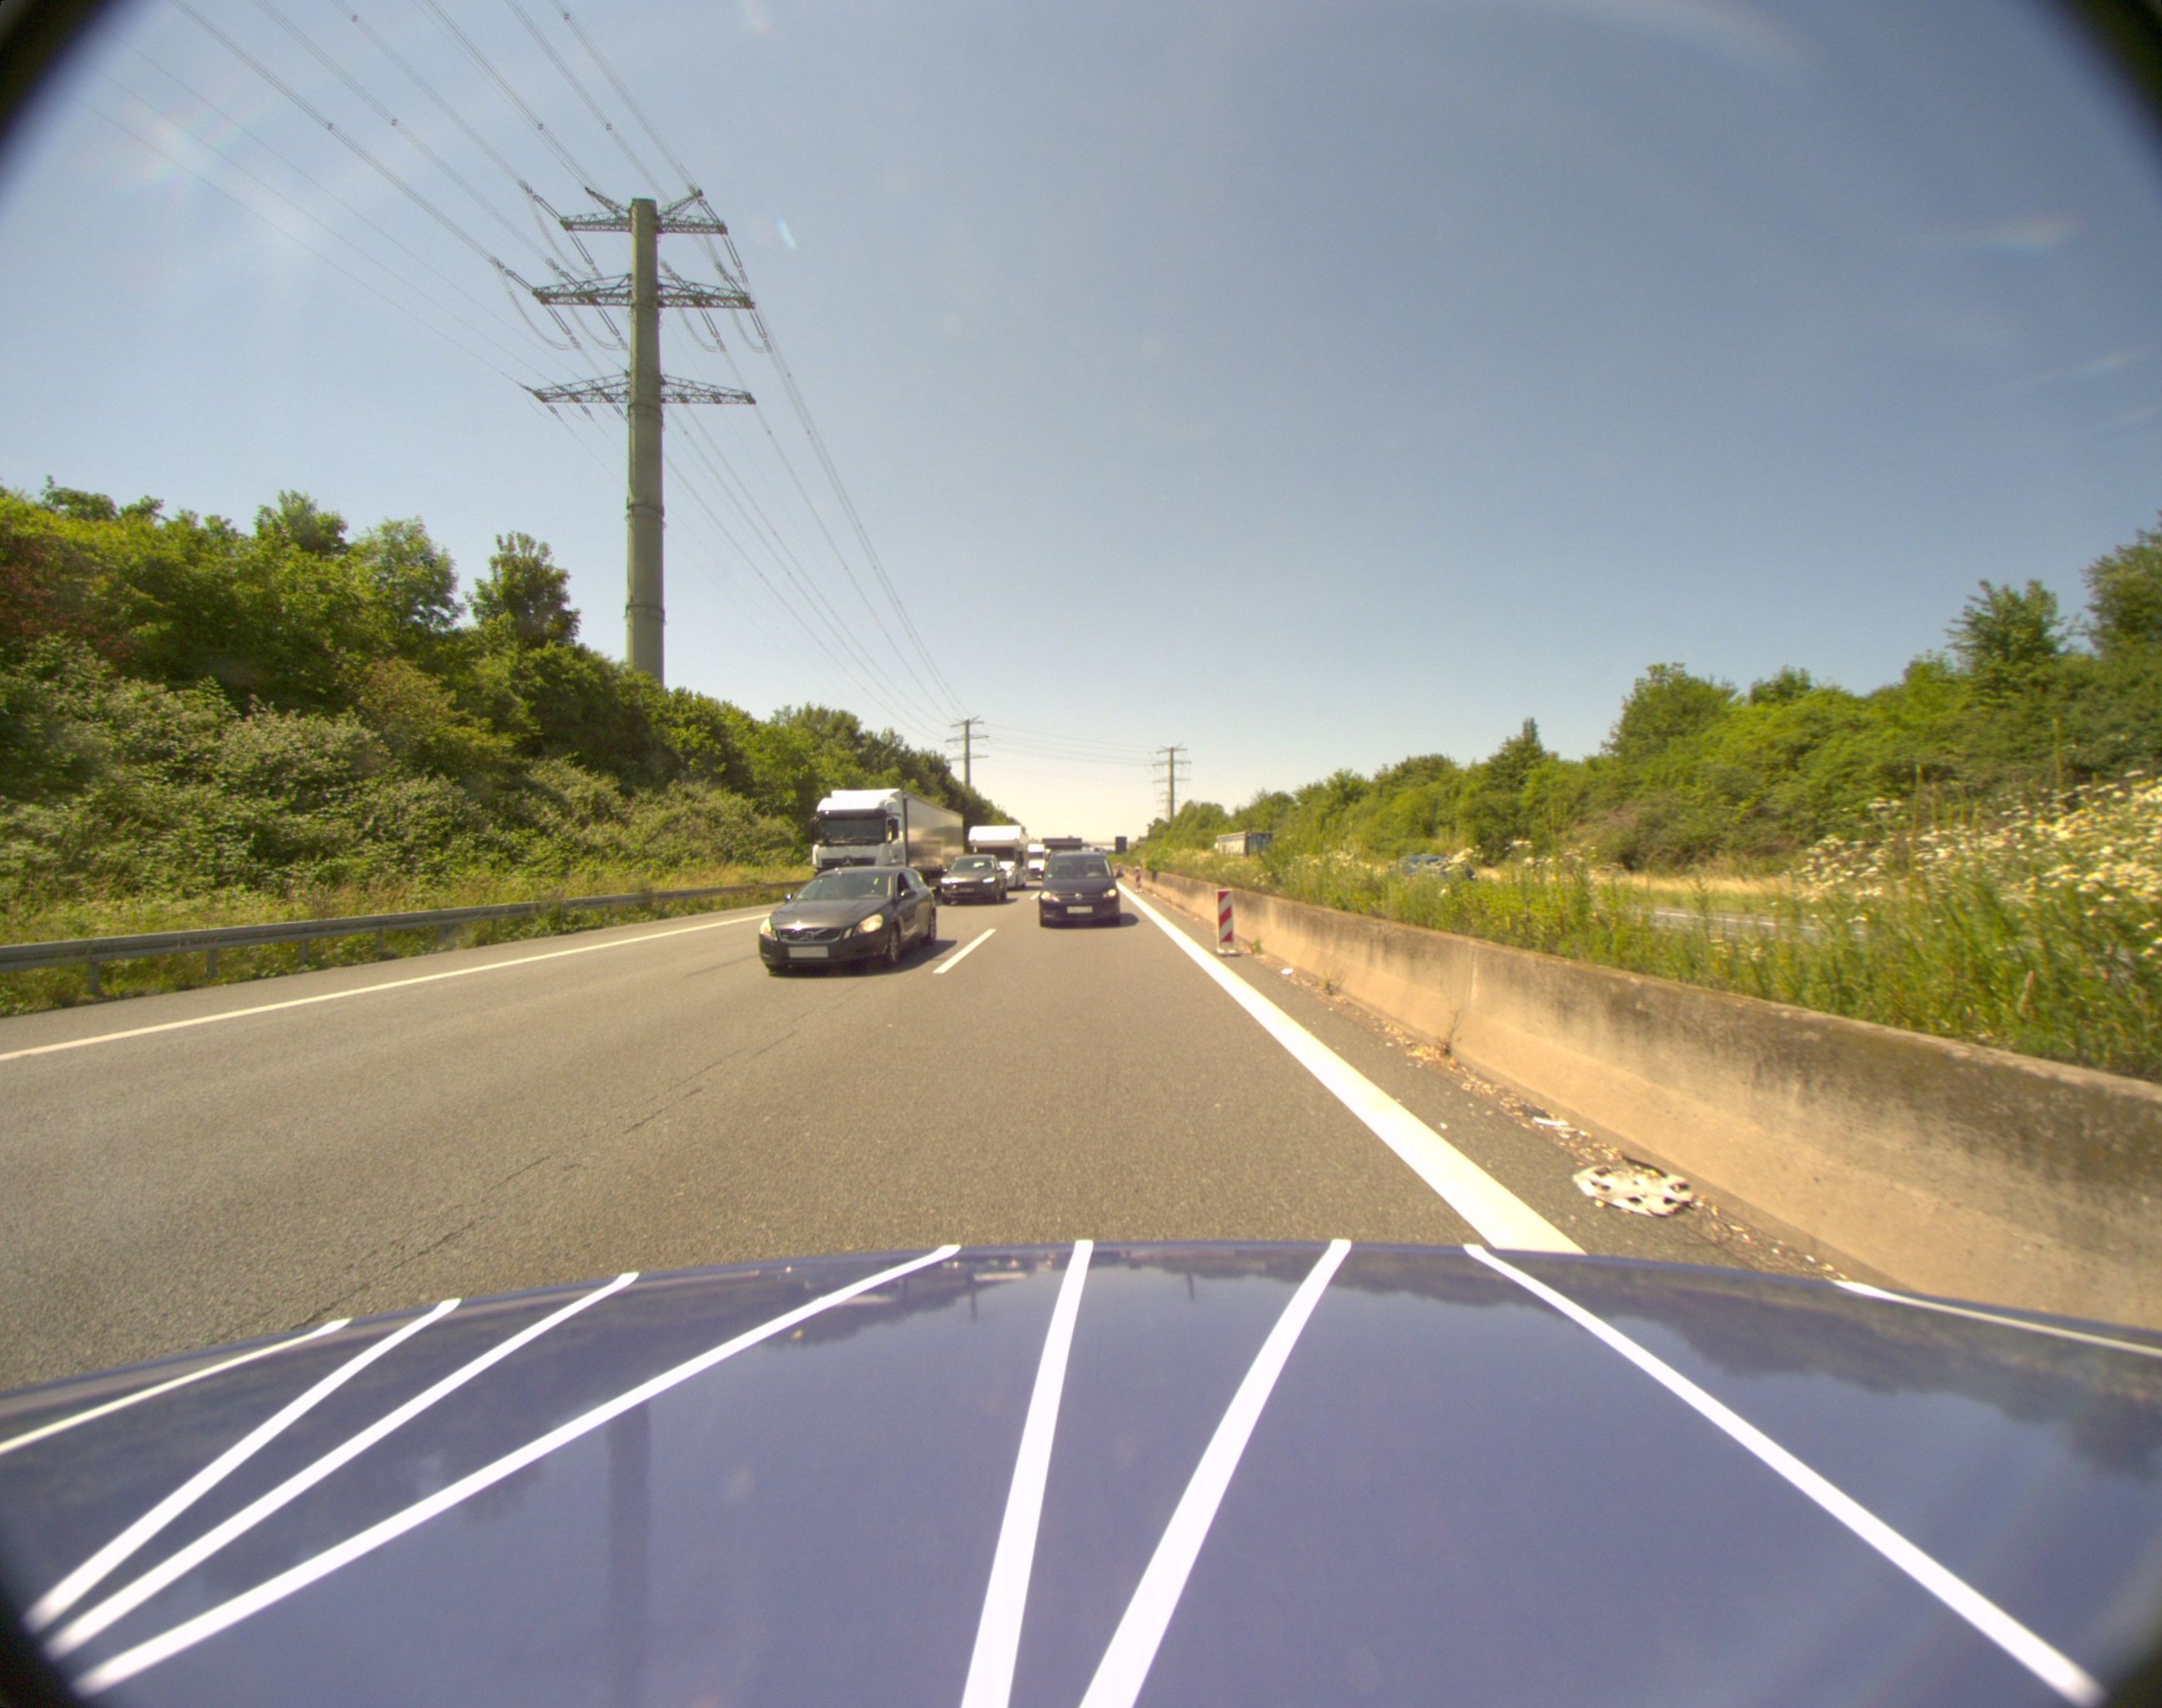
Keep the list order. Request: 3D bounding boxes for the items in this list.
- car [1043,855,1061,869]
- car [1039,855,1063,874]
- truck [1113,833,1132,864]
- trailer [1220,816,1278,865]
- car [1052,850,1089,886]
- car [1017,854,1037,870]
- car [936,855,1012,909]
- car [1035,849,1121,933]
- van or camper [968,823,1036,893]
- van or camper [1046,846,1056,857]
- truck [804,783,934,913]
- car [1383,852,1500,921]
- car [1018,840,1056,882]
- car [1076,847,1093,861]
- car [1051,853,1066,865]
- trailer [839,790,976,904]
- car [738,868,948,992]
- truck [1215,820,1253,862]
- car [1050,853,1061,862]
[{"bbox_3d":[-3.374,0.929,88.735,1.720,1.510,3.874,-2,1,1],"label":"car"},{"bbox_3d":[-2.608,0.898,66.742,1.720,1.510,3.874,-2,1,1],"label":"car"},{"bbox_3d":[4.529,-0.613,83.720,1.892,3.264,5.590,-2,1,2],"label":"truck"},{"bbox_3d":[16.538,-1.342,75.875,2.967,4.378,12.904,-2,1,1],"label":"trailer"},{"bbox_3d":[-0.467,0.677,38.748,1.700,1.641,4.219,-2,1,1],"label":"car"},{"bbox_3d":[-5.743,0.849,81.889,1.720,1.510,3.874,-2,1,1],"label":"car"},{"bbox_3d":[-3.594,0.899,26.316,1.893,1.602,4.219,-2,1,1],"label":"car"},{"bbox_3d":[-0.026,0.748,17.711,1.700,1.641,4.219,-2,1,1],"label":"car"},{"bbox_3d":[-3.745,0.139,37.765,2.375,3.026,7.632,-2,1,1],"label":"van or camper"},{"bbox_3d":[-7.082,-0.609,177.221,1.978,2.511,4.369,-2,1,1],"label":"van or camper"},{"bbox_3d":[-7.320,-0.227,27.119,2.740,4.024,5.793,-2,1,1],"label":"truck"},{"bbox_3d":[11.939,1.004,25.492,1.998,2.002,4.000,-2,1,1],"label":"car"},{"bbox_3d":[-3.025,0.408,53.810,2.042,2.703,6.705,-2,1,1],"label":"car"},{"bbox_3d":[0.466,0.017,96.649,1.973,1.682,3.874,-2,1,1],"label":"car"},{"bbox_3d":[-3.097,0.720,105.069,1.720,1.510,3.874,-2,1,1],"label":"car"},{"bbox_3d":[-7.216,-0.319,34.171,2.790,4.024,13.110,-2,1,1],"label":"trailer"},{"bbox_3d":[-3.484,1.023,12.111,1.799,1.411,4.509,-2,1,1],"label":"car"},{"bbox_3d":[16.600,-1.412,82.839,2.952,4.367,6.074,-2,1,1],"label":"truck"},{"bbox_3d":[-4.567,0.542,137.750,1.720,1.510,3.874,-2,1,1],"label":"car"}]
